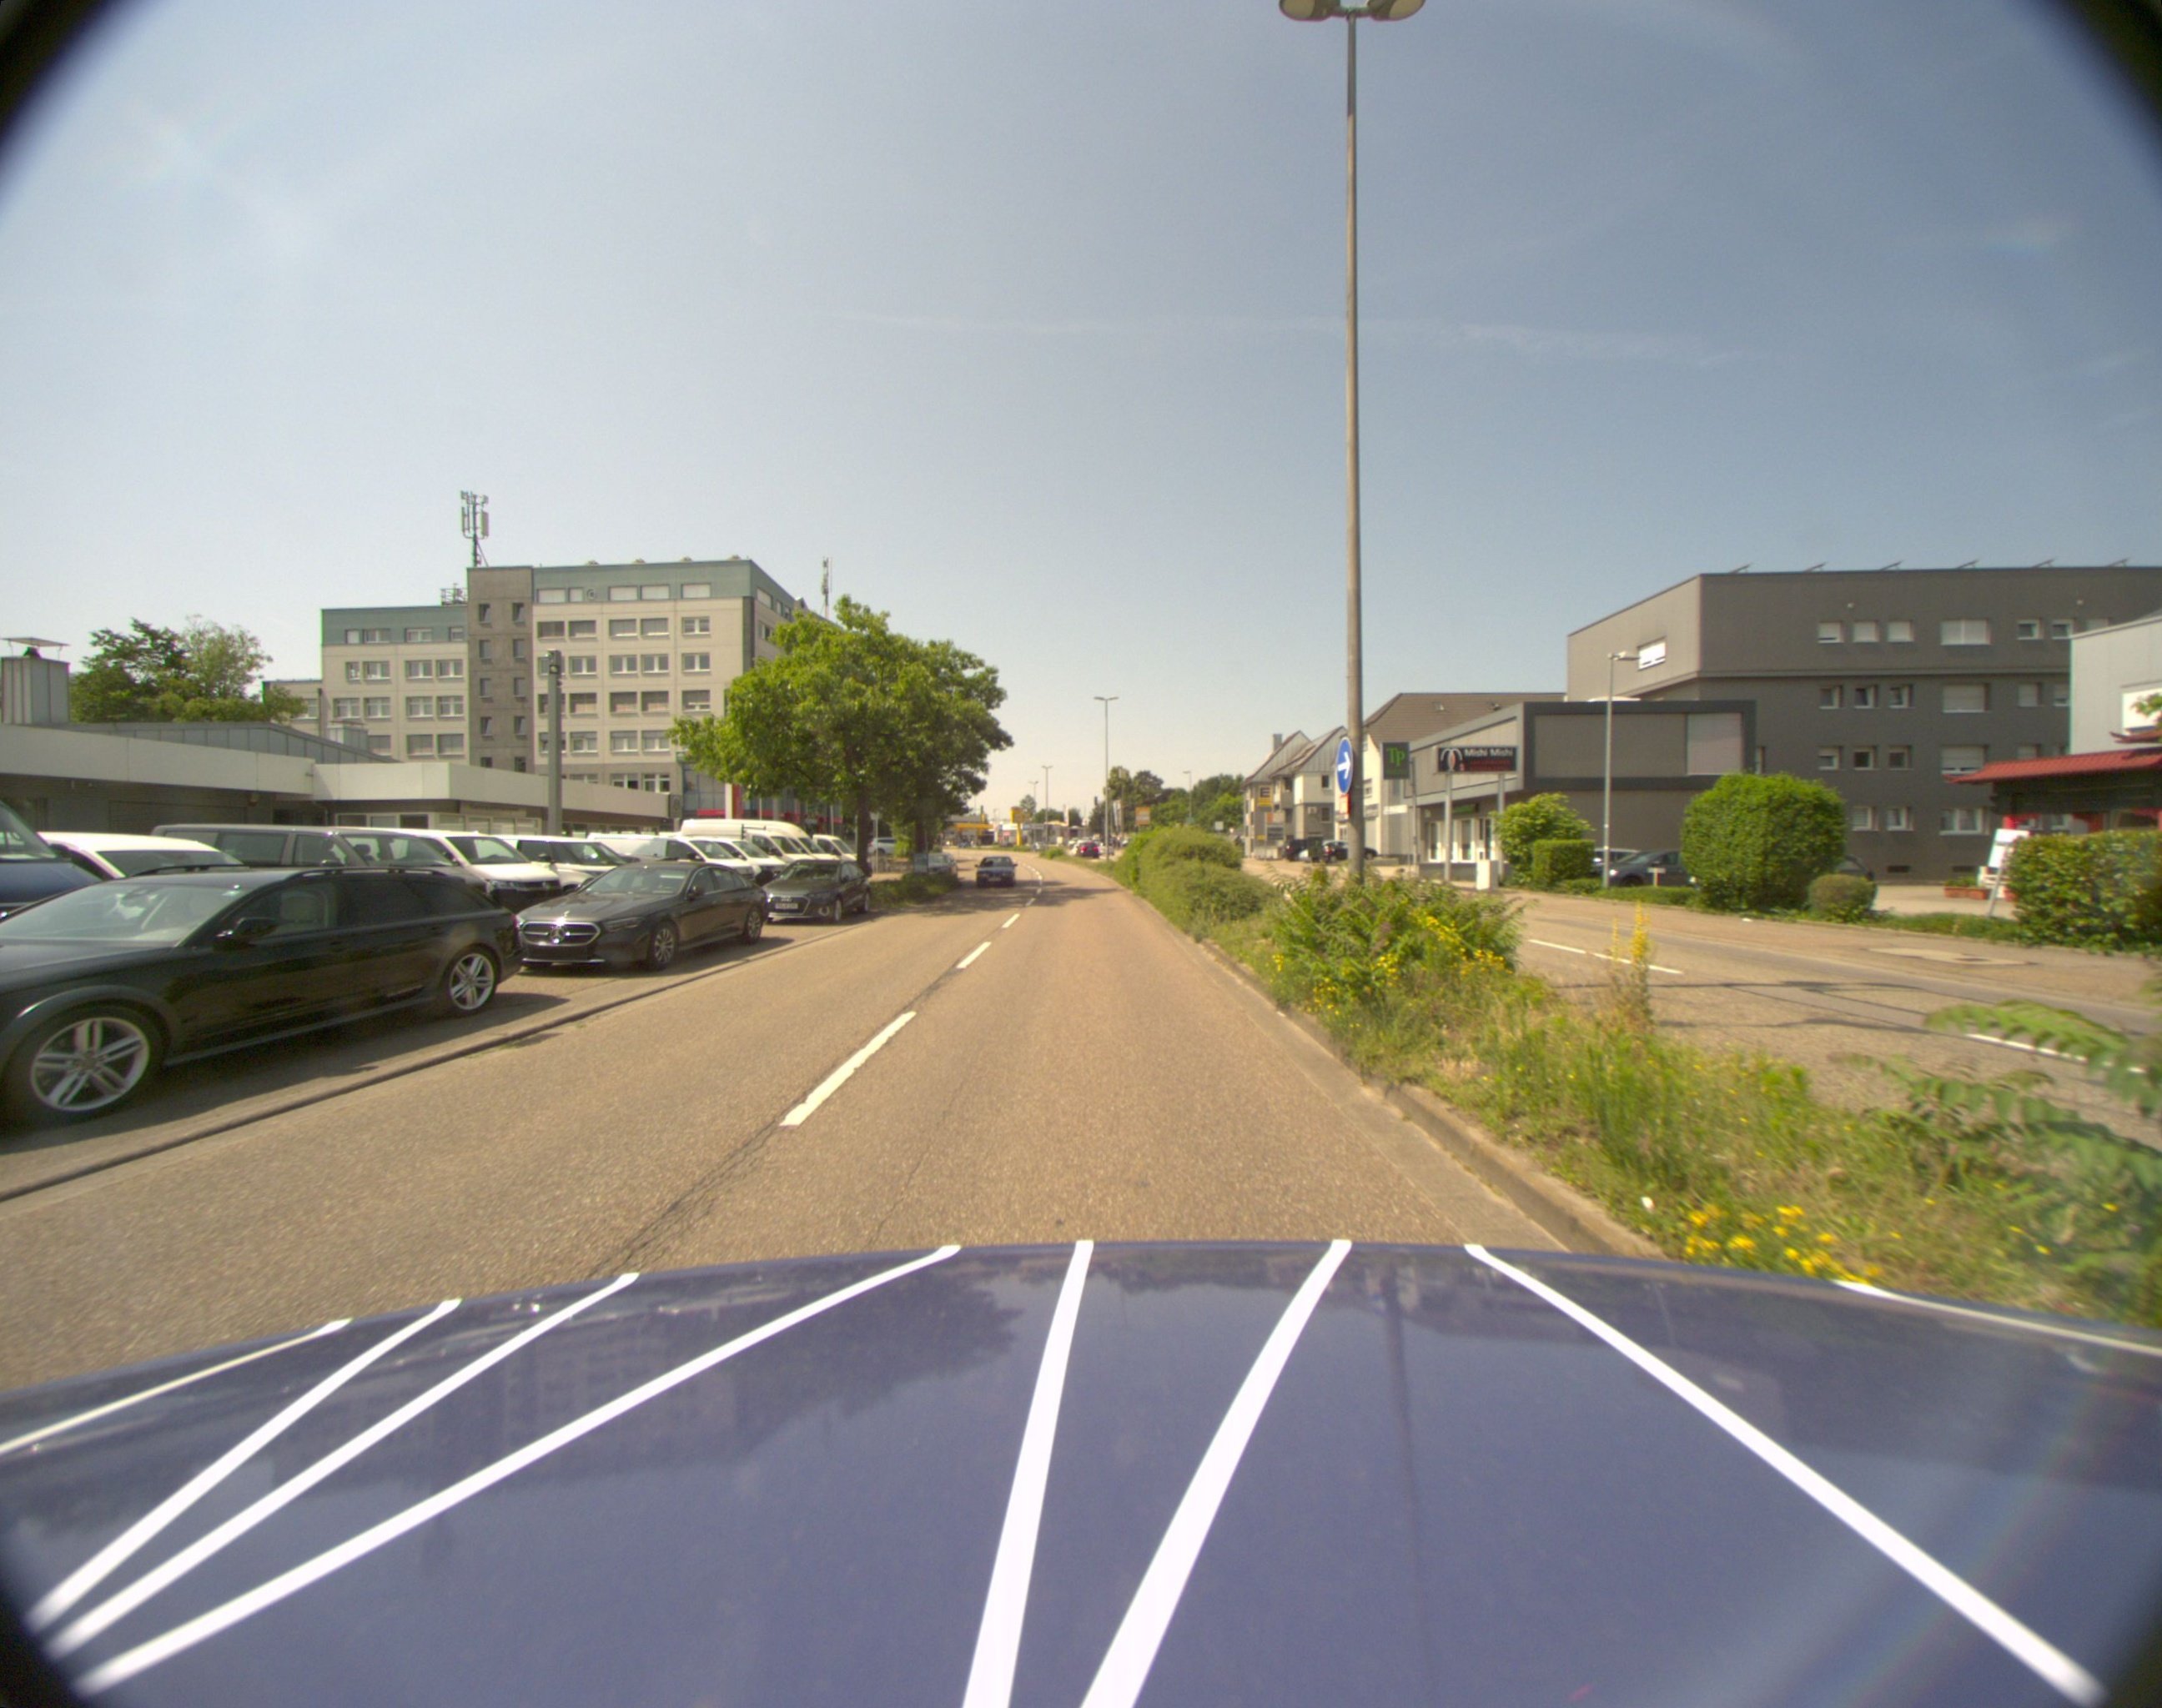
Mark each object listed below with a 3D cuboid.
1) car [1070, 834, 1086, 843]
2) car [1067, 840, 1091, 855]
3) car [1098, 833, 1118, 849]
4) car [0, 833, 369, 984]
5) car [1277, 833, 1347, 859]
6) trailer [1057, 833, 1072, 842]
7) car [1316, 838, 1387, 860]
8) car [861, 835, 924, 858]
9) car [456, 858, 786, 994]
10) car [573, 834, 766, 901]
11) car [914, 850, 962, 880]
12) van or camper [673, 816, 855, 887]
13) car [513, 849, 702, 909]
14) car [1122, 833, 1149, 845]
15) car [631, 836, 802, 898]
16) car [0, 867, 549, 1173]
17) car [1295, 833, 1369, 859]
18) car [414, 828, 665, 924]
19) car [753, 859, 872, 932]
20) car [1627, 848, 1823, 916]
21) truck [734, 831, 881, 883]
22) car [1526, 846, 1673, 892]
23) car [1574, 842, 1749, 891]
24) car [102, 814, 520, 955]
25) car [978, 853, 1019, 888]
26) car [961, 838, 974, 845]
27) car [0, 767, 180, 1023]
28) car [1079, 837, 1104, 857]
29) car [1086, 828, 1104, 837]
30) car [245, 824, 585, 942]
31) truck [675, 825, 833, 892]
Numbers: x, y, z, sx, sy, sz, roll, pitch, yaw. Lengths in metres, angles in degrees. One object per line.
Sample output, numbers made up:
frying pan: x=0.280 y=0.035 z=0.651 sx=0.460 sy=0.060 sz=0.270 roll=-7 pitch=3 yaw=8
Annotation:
car: x=-0.609 y=-2.816 z=136.435 sx=1.754 sy=1.501 sz=3.823 roll=-1 pitch=3 yaw=17
car: x=-0.207 y=-0.718 z=82.044 sx=1.869 sy=1.423 sz=4.739 roll=-2 pitch=2 yaw=-9
car: x=3.137 y=-1.518 z=87.854 sx=1.785 sy=1.620 sz=4.335 roll=-4 pitch=3 yaw=-4
car: x=-13.099 y=0.666 z=10.534 sx=4.579 sy=1.840 sz=1.951 roll=1 pitch=0 yaw=0
car: x=17.331 y=-0.597 z=57.119 sx=4.617 sy=1.618 sz=1.853 roll=-4 pitch=2 yaw=0
trailer: x=-3.001 y=-3.061 z=139.635 sx=1.689 sy=1.694 sz=2.438 roll=0 pitch=3 yaw=29
car: x=18.304 y=-0.352 z=51.508 sx=4.068 sy=1.512 sz=1.999 roll=0 pitch=2 yaw=-3
car: x=-15.871 y=-0.673 z=64.016 sx=4.746 sy=1.704 sz=1.995 roll=-3 pitch=3 yaw=-25
car: x=-6.633 y=0.898 z=11.876 sx=1.966 sy=1.521 sz=5.160 roll=2 pitch=1 yaw=0
car: x=-12.930 y=0.382 z=24.121 sx=4.925 sy=1.960 sz=2.141 roll=1 pitch=1 yaw=1
car: x=-7.628 y=0.532 z=40.812 sx=1.802 sy=1.398 sz=4.318 roll=-2 pitch=1 yaw=-1
van or camper: x=-13.413 y=-0.099 z=32.459 sx=6.814 sy=2.881 sz=2.275 roll=0 pitch=1 yaw=0
car: x=-13.274 y=0.691 z=21.531 sx=4.035 sy=1.462 sz=1.913 roll=3 pitch=0 yaw=-6
car: x=9.136 y=-2.601 z=127.383 sx=4.300 sy=1.891 sz=1.831 roll=1 pitch=4 yaw=19
car: x=-12.728 y=0.426 z=26.823 sx=4.961 sy=2.101 sz=2.159 roll=0 pitch=1 yaw=-1
car: x=-6.900 y=0.949 z=6.042 sx=1.860 sy=1.472 sz=5.154 roll=2 pitch=1 yaw=-3
car: x=17.886 y=-0.552 z=54.160 sx=4.620 sy=1.488 sz=1.751 roll=-4 pitch=2 yaw=-8
car: x=-13.005 y=0.470 z=18.478 sx=4.520 sy=2.002 sz=2.197 roll=3 pitch=2 yaw=1
car: x=-6.391 y=0.905 z=18.613 sx=1.687 sy=1.427 sz=4.436 roll=1 pitch=1 yaw=-5
car: x=16.510 y=0.690 z=19.626 sx=3.489 sy=1.522 sz=1.777 roll=-1 pitch=3 yaw=1
truck: x=-13.233 y=0.140 z=37.012 sx=6.260 sy=2.323 sz=2.368 roll=1 pitch=0 yaw=2
car: x=17.688 y=0.496 z=26.010 sx=3.998 sy=1.451 sz=1.574 roll=0 pitch=3 yaw=-4
car: x=17.793 y=0.370 z=23.431 sx=4.006 sy=1.363 sz=1.669 roll=1 pitch=0 yaw=3
car: x=-12.842 y=0.477 z=12.961 sx=4.912 sy=2.102 sz=2.129 roll=1 pitch=0 yaw=0
car: x=-3.689 y=0.696 z=34.500 sx=1.698 sy=1.366 sz=3.997 roll=0 pitch=2 yaw=-4
car: x=-23.393 y=-2.542 z=156.178 sx=1.871 sy=1.358 sz=4.338 roll=1 pitch=1 yaw=-20
car: x=-13.510 y=0.455 z=7.841 sx=5.856 sy=2.510 sz=2.204 roll=-1 pitch=2 yaw=3
car: x=0.986 y=-0.733 z=74.494 sx=1.914 sy=1.741 sz=4.755 roll=-2 pitch=3 yaw=-5
car: x=2.445 y=-3.736 z=131.719 sx=1.712 sy=1.423 sz=3.970 roll=1 pitch=-2 yaw=21
car: x=-13.280 y=0.538 z=15.413 sx=5.077 sy=2.085 sz=2.040 roll=2 pitch=1 yaw=0
truck: x=-12.655 y=0.153 z=29.621 sx=5.259 sy=2.422 sz=2.111 roll=1 pitch=1 yaw=2
